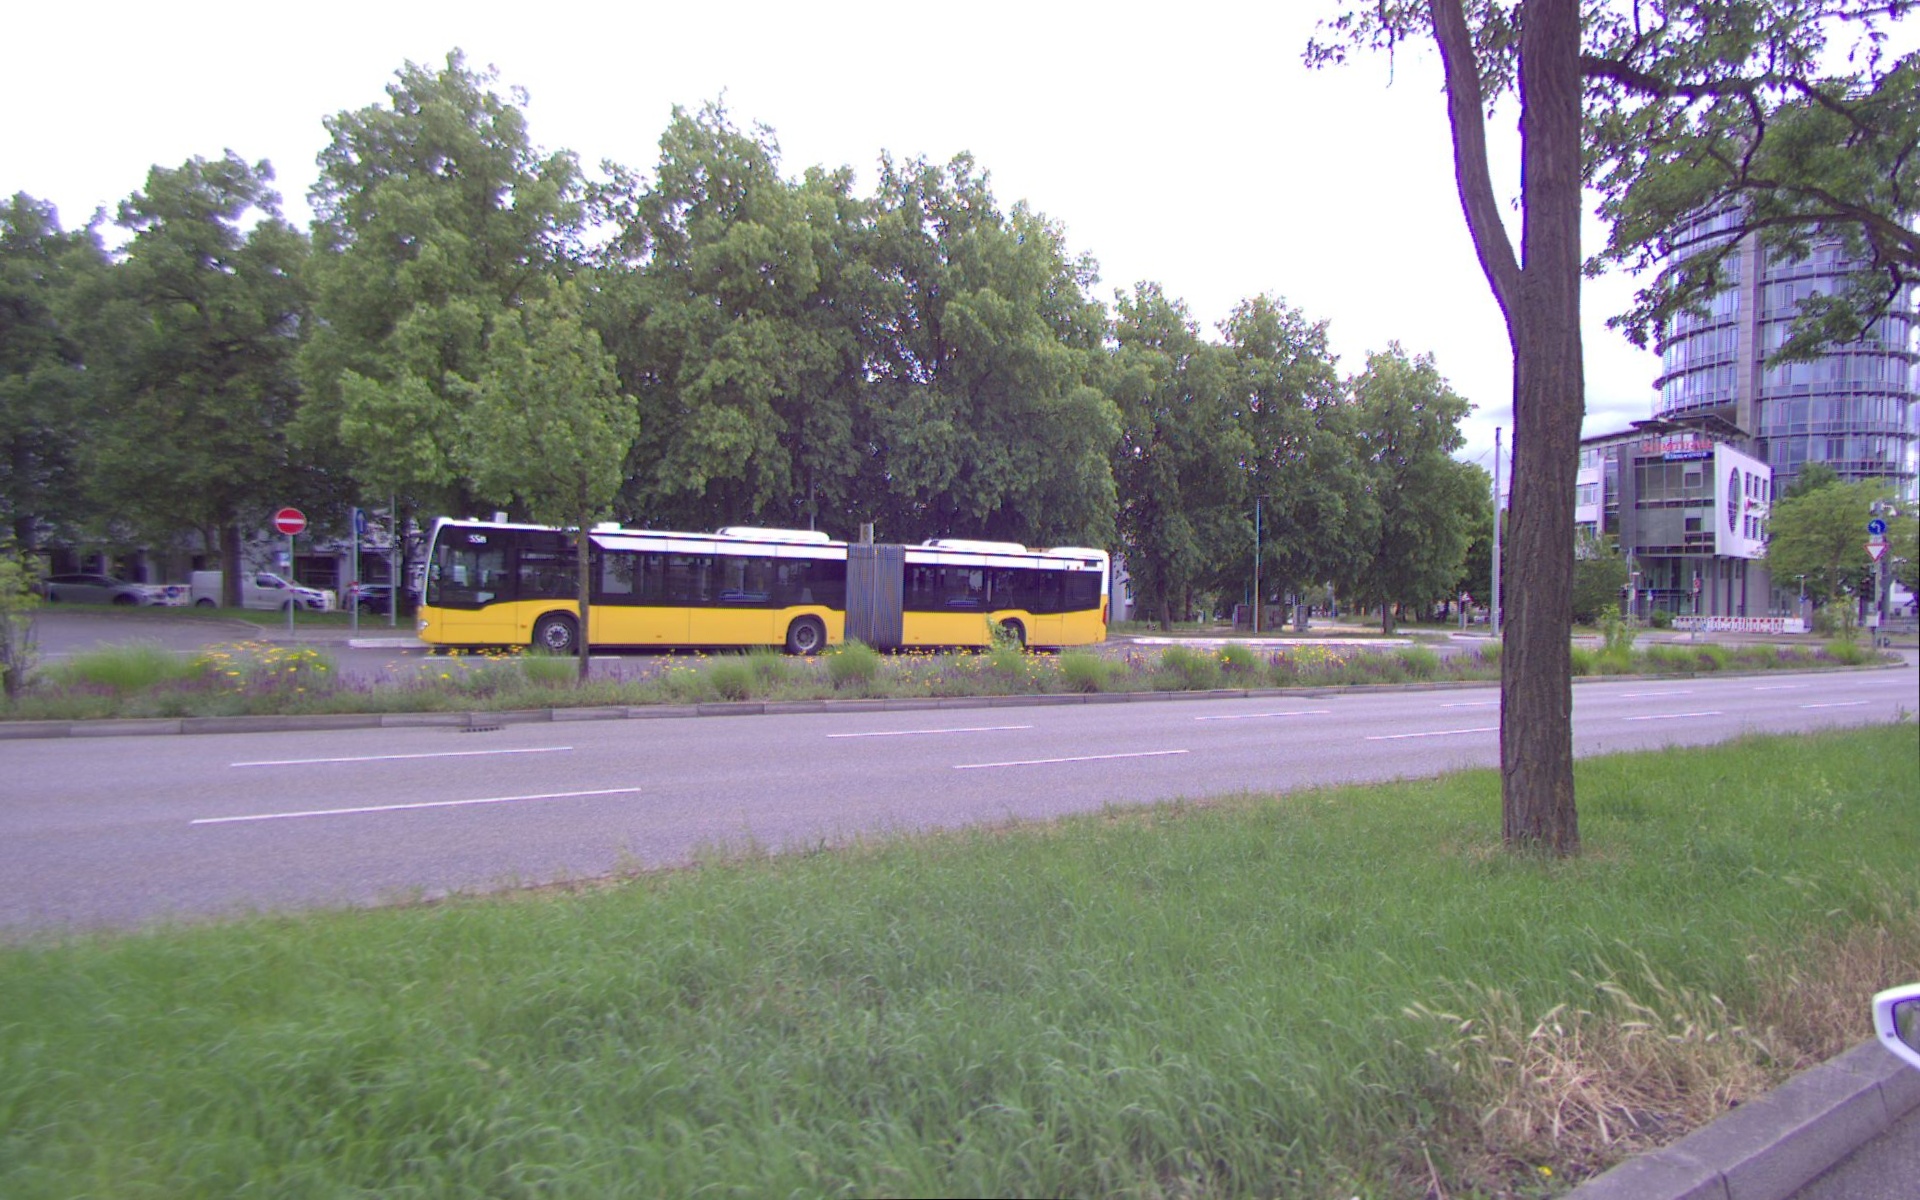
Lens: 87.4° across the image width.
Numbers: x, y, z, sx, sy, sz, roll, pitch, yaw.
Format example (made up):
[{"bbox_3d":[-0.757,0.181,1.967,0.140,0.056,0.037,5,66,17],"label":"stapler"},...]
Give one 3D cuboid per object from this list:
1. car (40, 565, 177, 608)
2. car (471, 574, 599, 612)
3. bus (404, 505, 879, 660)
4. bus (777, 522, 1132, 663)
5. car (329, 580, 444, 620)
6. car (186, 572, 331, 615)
[{"bbox_3d":[-36.334,-0.544,42.983,3.936,1.706,1.992,1,0,-18],"label":"car"},{"bbox_3d":[-19.984,-0.318,47.454,5.313,1.670,1.993,1,0,-16],"label":"car"},{"bbox_3d":[-7.487,-0.337,24.606,10.604,3.205,3.070,1,2,-29],"label":"bus"},{"bbox_3d":[0.010,-0.141,28.651,9.785,3.502,3.019,1,2,-28],"label":"bus"},{"bbox_3d":[-26.072,0.013,45.823,4.159,1.706,1.992,1,0,-18],"label":"car"},{"bbox_3d":[-30.937,-0.256,44.496,4.837,1.746,1.992,1,0,-18],"label":"car"}]
